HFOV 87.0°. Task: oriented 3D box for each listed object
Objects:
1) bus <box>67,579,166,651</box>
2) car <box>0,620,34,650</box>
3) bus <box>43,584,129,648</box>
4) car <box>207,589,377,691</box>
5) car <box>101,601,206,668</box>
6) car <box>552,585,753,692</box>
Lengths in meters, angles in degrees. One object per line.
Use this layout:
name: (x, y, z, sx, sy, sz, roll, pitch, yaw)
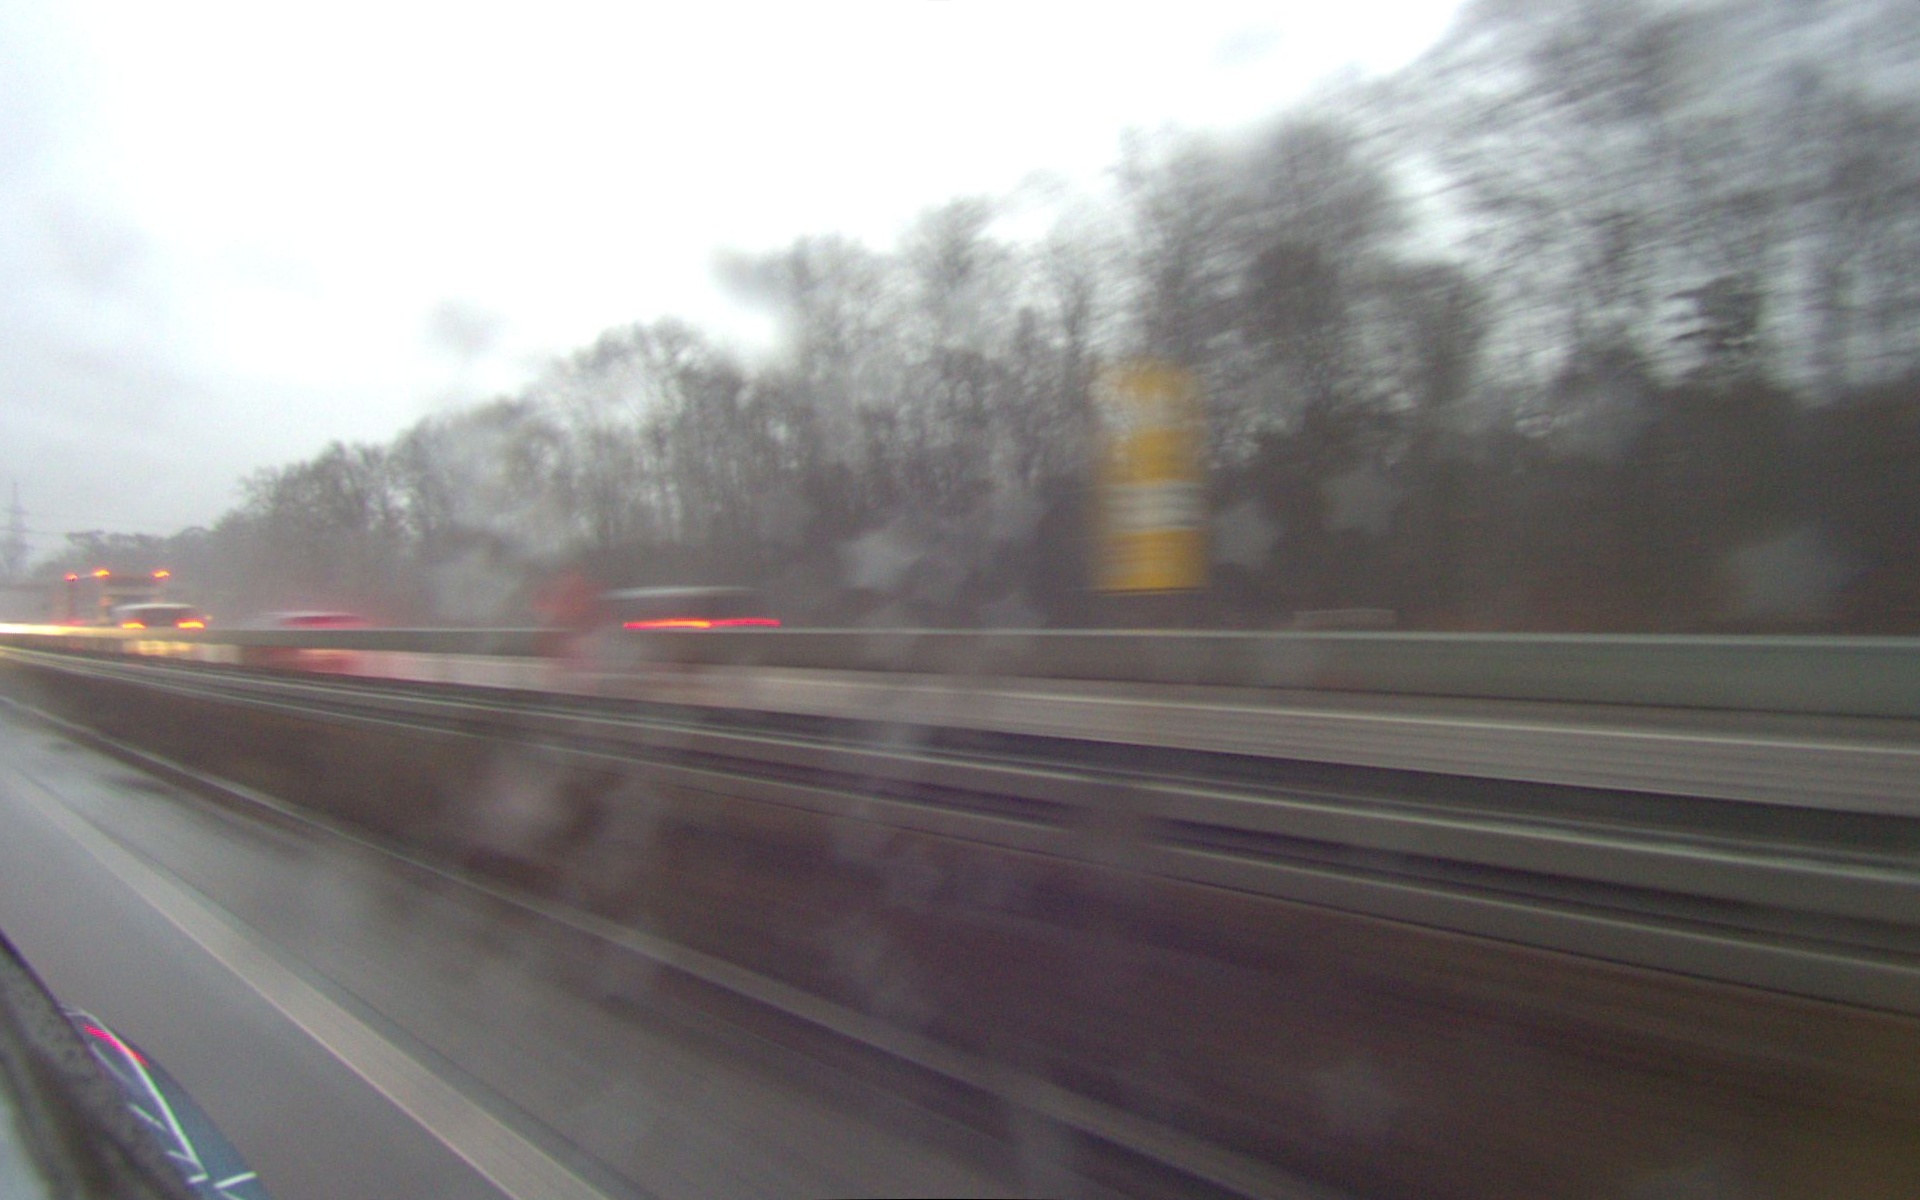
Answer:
bus: (-45.526, 0.831, 54.500, 9.151, 3.582, 2.710, -1, -1, 41)
car: (-51.616, 1.872, 54.851, 4.269, 1.546, 1.779, -1, -1, 43)
bus: (-52.409, 0.973, 60.579, 9.084, 3.582, 2.698, -1, -1, 41)
car: (-14.621, 0.817, 22.060, 4.596, 1.997, 1.833, -1, -1, 40)
car: (-26.612, 1.098, 33.354, 4.727, 2.029, 1.972, -1, -1, 42)
car: (-5.898, 0.681, 19.190, 3.999, 1.813, 1.835, -1, -1, 42)
